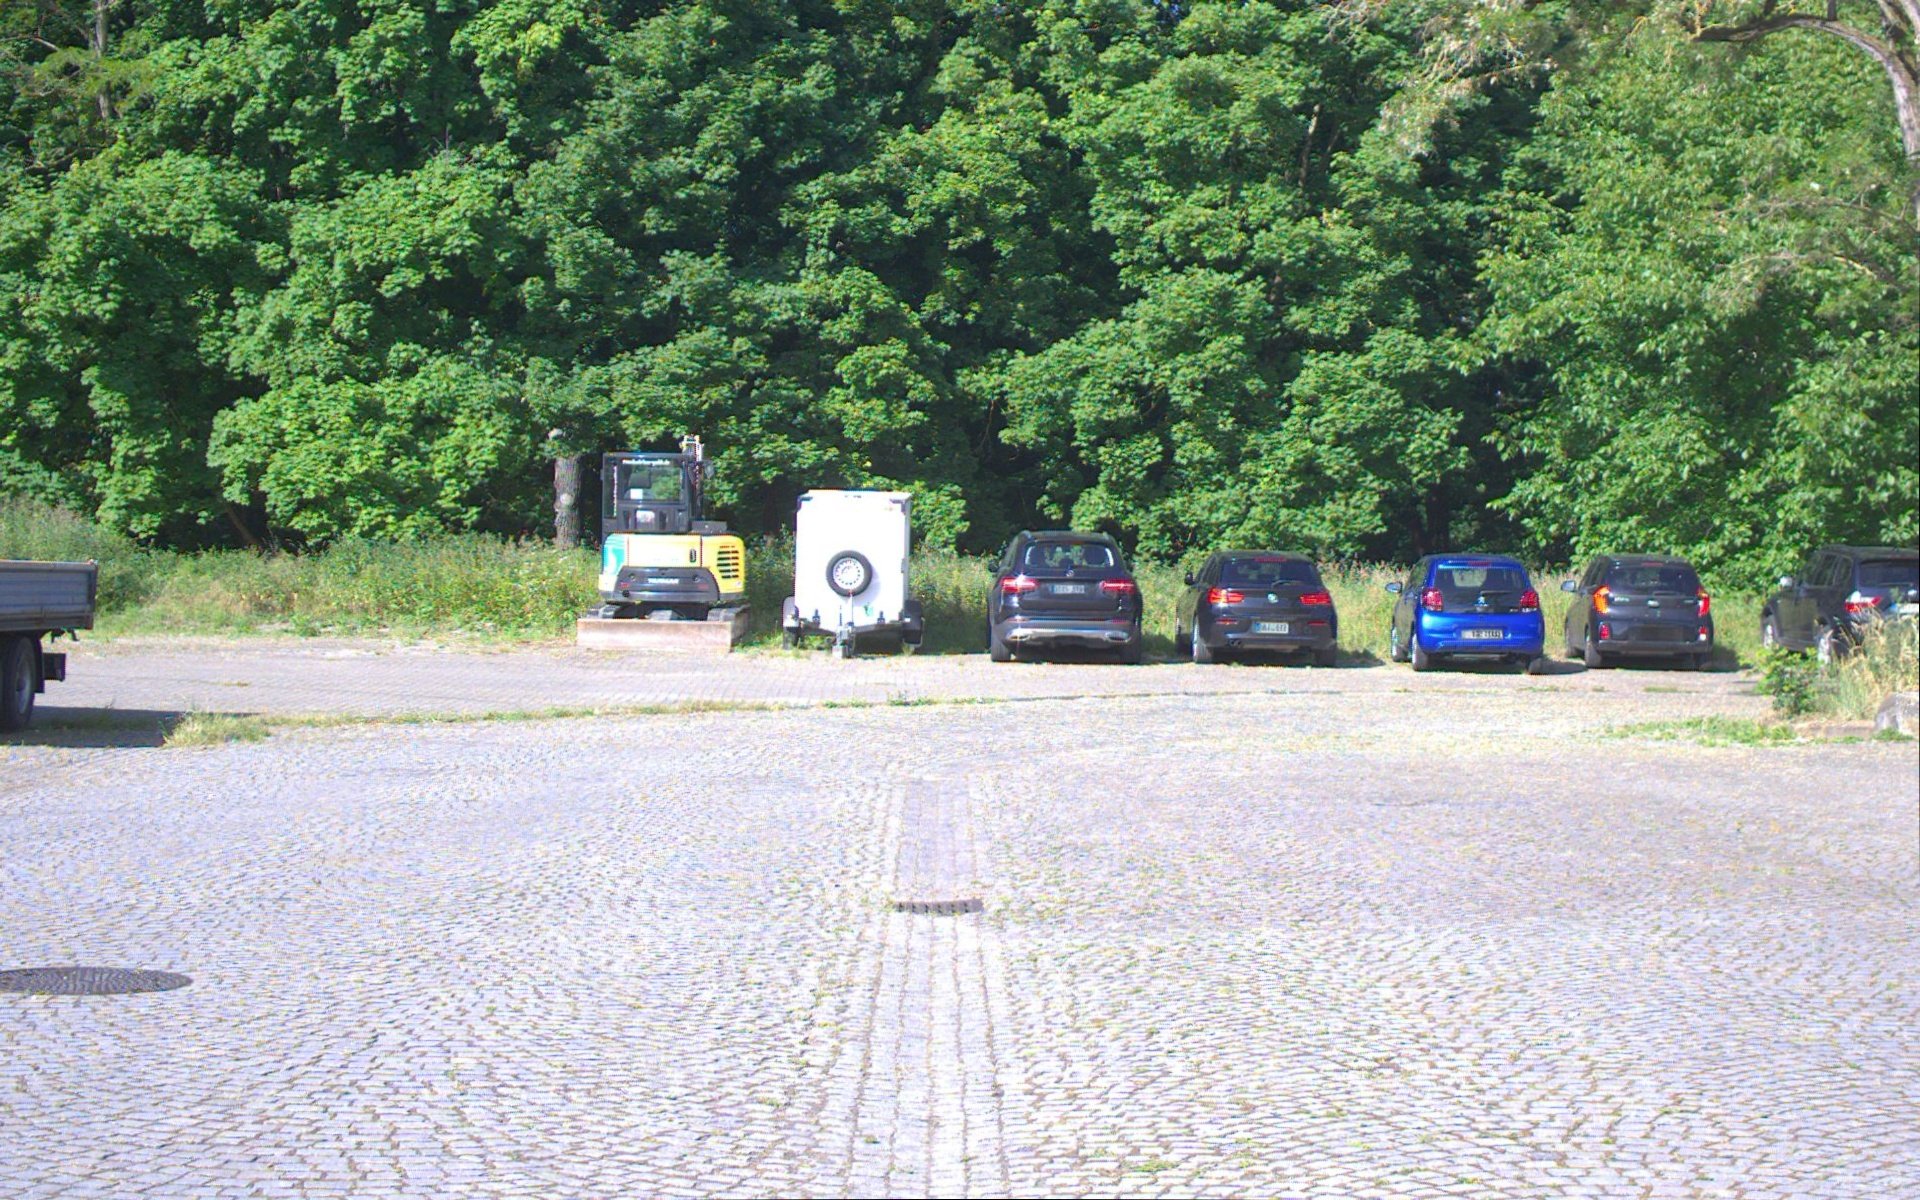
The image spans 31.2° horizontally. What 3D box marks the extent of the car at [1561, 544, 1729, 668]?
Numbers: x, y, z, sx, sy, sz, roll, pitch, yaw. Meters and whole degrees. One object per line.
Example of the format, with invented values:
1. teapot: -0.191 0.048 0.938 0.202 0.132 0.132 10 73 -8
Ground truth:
1. car: 8.944 0.043 45.122 1.739 1.446 3.724 2 2 5

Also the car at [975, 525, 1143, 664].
1. car: 1.202 -0.115 43.670 1.964 1.584 4.132 1 2 0

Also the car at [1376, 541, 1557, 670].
1. car: 6.443 0.035 44.080 1.780 1.453 3.790 1 2 1

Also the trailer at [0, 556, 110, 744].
1. trailer: -8.542 0.347 26.753 2.640 1.410 4.862 1 0 0

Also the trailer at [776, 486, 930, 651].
1. trailer: -1.364 -0.443 44.891 1.818 2.043 2.850 1 2 1

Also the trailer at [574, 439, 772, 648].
1. trailer: -3.729 -0.784 45.162 2.258 2.529 2.851 1 4 1

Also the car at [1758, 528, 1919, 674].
1. car: 11.818 -0.020 44.568 1.874 1.625 4.274 1 3 0

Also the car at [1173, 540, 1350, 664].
1. car: 3.813 -0.007 44.015 1.889 1.406 3.790 1 2 0
